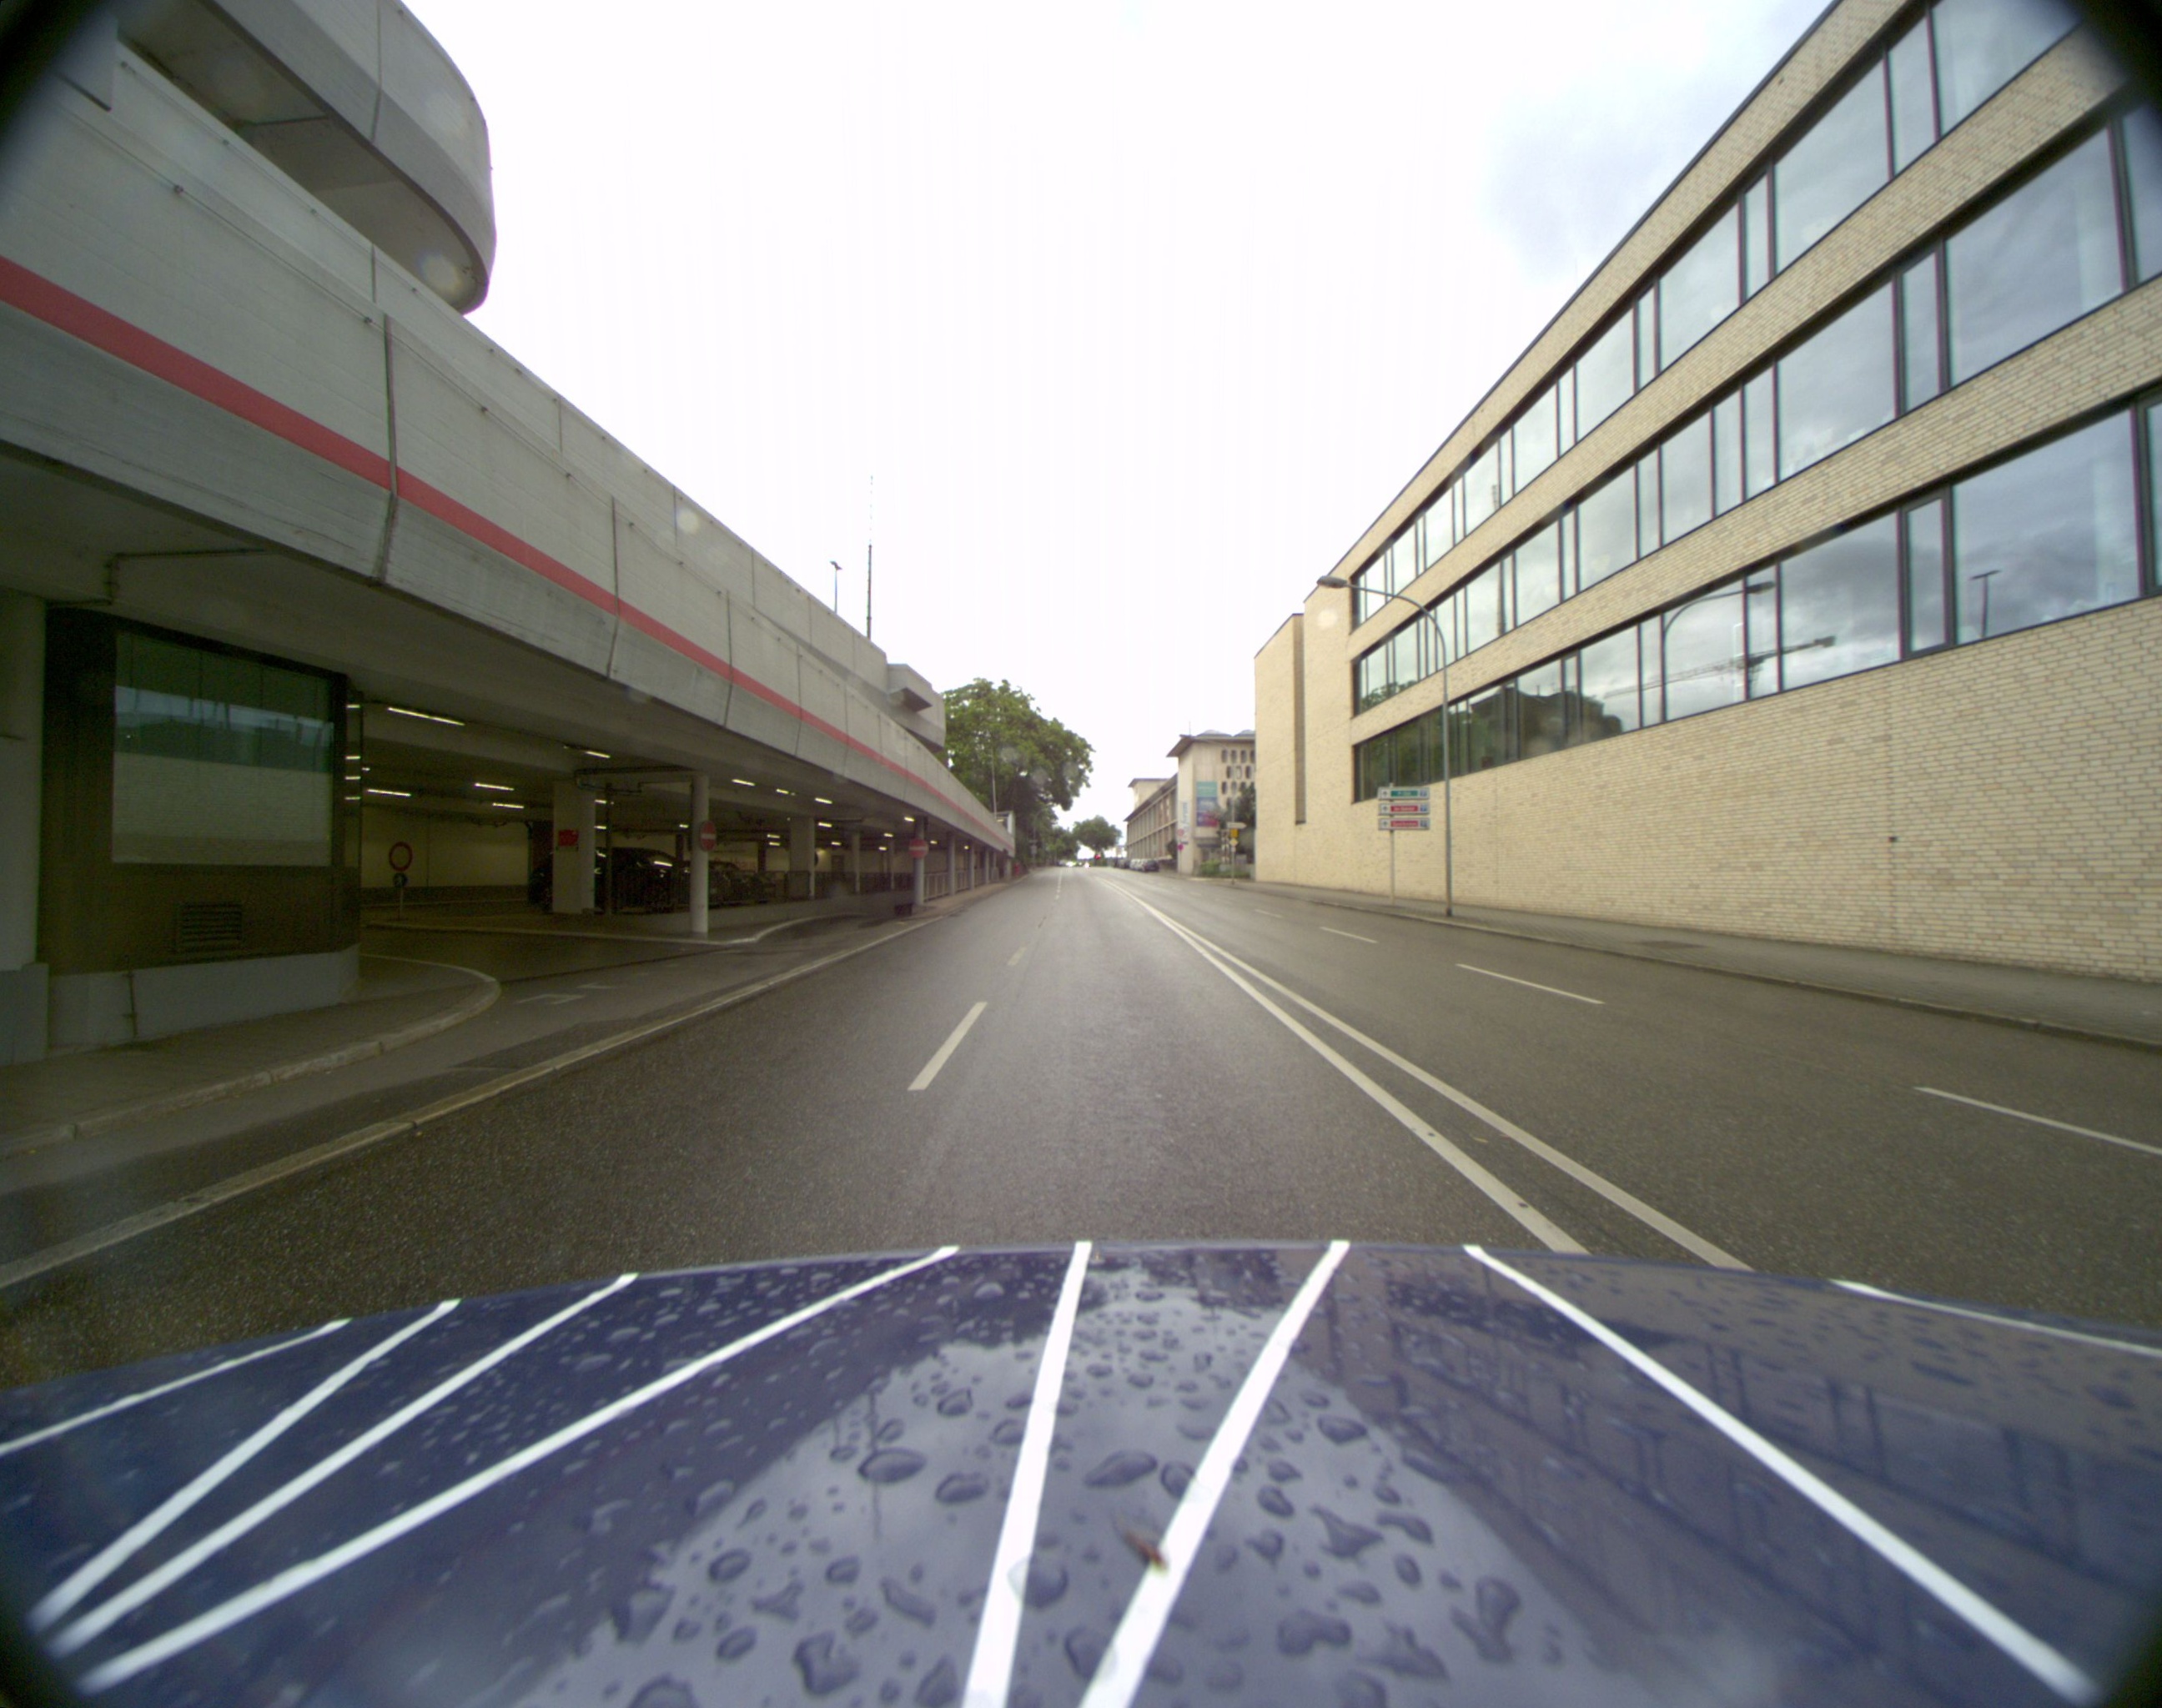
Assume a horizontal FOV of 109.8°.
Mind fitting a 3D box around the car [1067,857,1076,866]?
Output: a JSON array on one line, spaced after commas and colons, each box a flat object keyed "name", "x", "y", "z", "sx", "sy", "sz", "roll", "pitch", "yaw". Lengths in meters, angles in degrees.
[{"name": "car", "x": -2.267, "y": 1.915, "z": 187.419, "sx": 1.998, "sy": 2.002, "sz": 3.999, "roll": -2, "pitch": 1, "yaw": 1}]

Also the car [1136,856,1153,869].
[{"name": "car", "x": 8.471, "y": 1.166, "z": 101.934, "sx": 1.998, "sy": 1.502, "sz": 4.002, "roll": -2, "pitch": -2, "yaw": 0}]

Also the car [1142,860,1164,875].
[{"name": "car", "x": 8.602, "y": 1.603, "z": 91.118, "sx": 1.999, "sy": 1.520, "sz": 3.999, "roll": -2, "pitch": 1, "yaw": -2}]

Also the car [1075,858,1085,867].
[{"name": "car", "x": -0.328, "y": 2.055, "z": 178.603, "sx": 1.806, "sy": 2.002, "sz": 3.997, "roll": -2, "pitch": 1, "yaw": -6}]

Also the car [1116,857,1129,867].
[{"name": "car", "x": 7.823, "y": 1.458, "z": 142.798, "sx": 1.999, "sy": 1.637, "sz": 3.998, "roll": -3, "pitch": 2, "yaw": -2}]

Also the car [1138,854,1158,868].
[{"name": "car", "x": 8.497, "y": 0.903, "z": 96.529, "sx": 1.999, "sy": 1.632, "sz": 3.999, "roll": -2, "pitch": 1, "yaw": -1}]

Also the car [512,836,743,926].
[{"name": "car", "x": -11.080, "y": 0.642, "z": 18.727, "sx": 4.585, "sy": 1.631, "sz": 1.822, "roll": -6, "pitch": 2, "yaw": 7}]

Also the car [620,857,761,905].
[{"name": "car", "x": -12.788, "y": 0.874, "z": 24.978, "sx": 3.730, "sy": 1.496, "sz": 1.809, "roll": 0, "pitch": -1, "yaw": 8}]

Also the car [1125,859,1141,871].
[{"name": "car", "x": 8.290, "y": 1.731, "z": 121.700, "sx": 1.999, "sy": 1.702, "sz": 3.999, "roll": -3, "pitch": 1, "yaw": -1}]
